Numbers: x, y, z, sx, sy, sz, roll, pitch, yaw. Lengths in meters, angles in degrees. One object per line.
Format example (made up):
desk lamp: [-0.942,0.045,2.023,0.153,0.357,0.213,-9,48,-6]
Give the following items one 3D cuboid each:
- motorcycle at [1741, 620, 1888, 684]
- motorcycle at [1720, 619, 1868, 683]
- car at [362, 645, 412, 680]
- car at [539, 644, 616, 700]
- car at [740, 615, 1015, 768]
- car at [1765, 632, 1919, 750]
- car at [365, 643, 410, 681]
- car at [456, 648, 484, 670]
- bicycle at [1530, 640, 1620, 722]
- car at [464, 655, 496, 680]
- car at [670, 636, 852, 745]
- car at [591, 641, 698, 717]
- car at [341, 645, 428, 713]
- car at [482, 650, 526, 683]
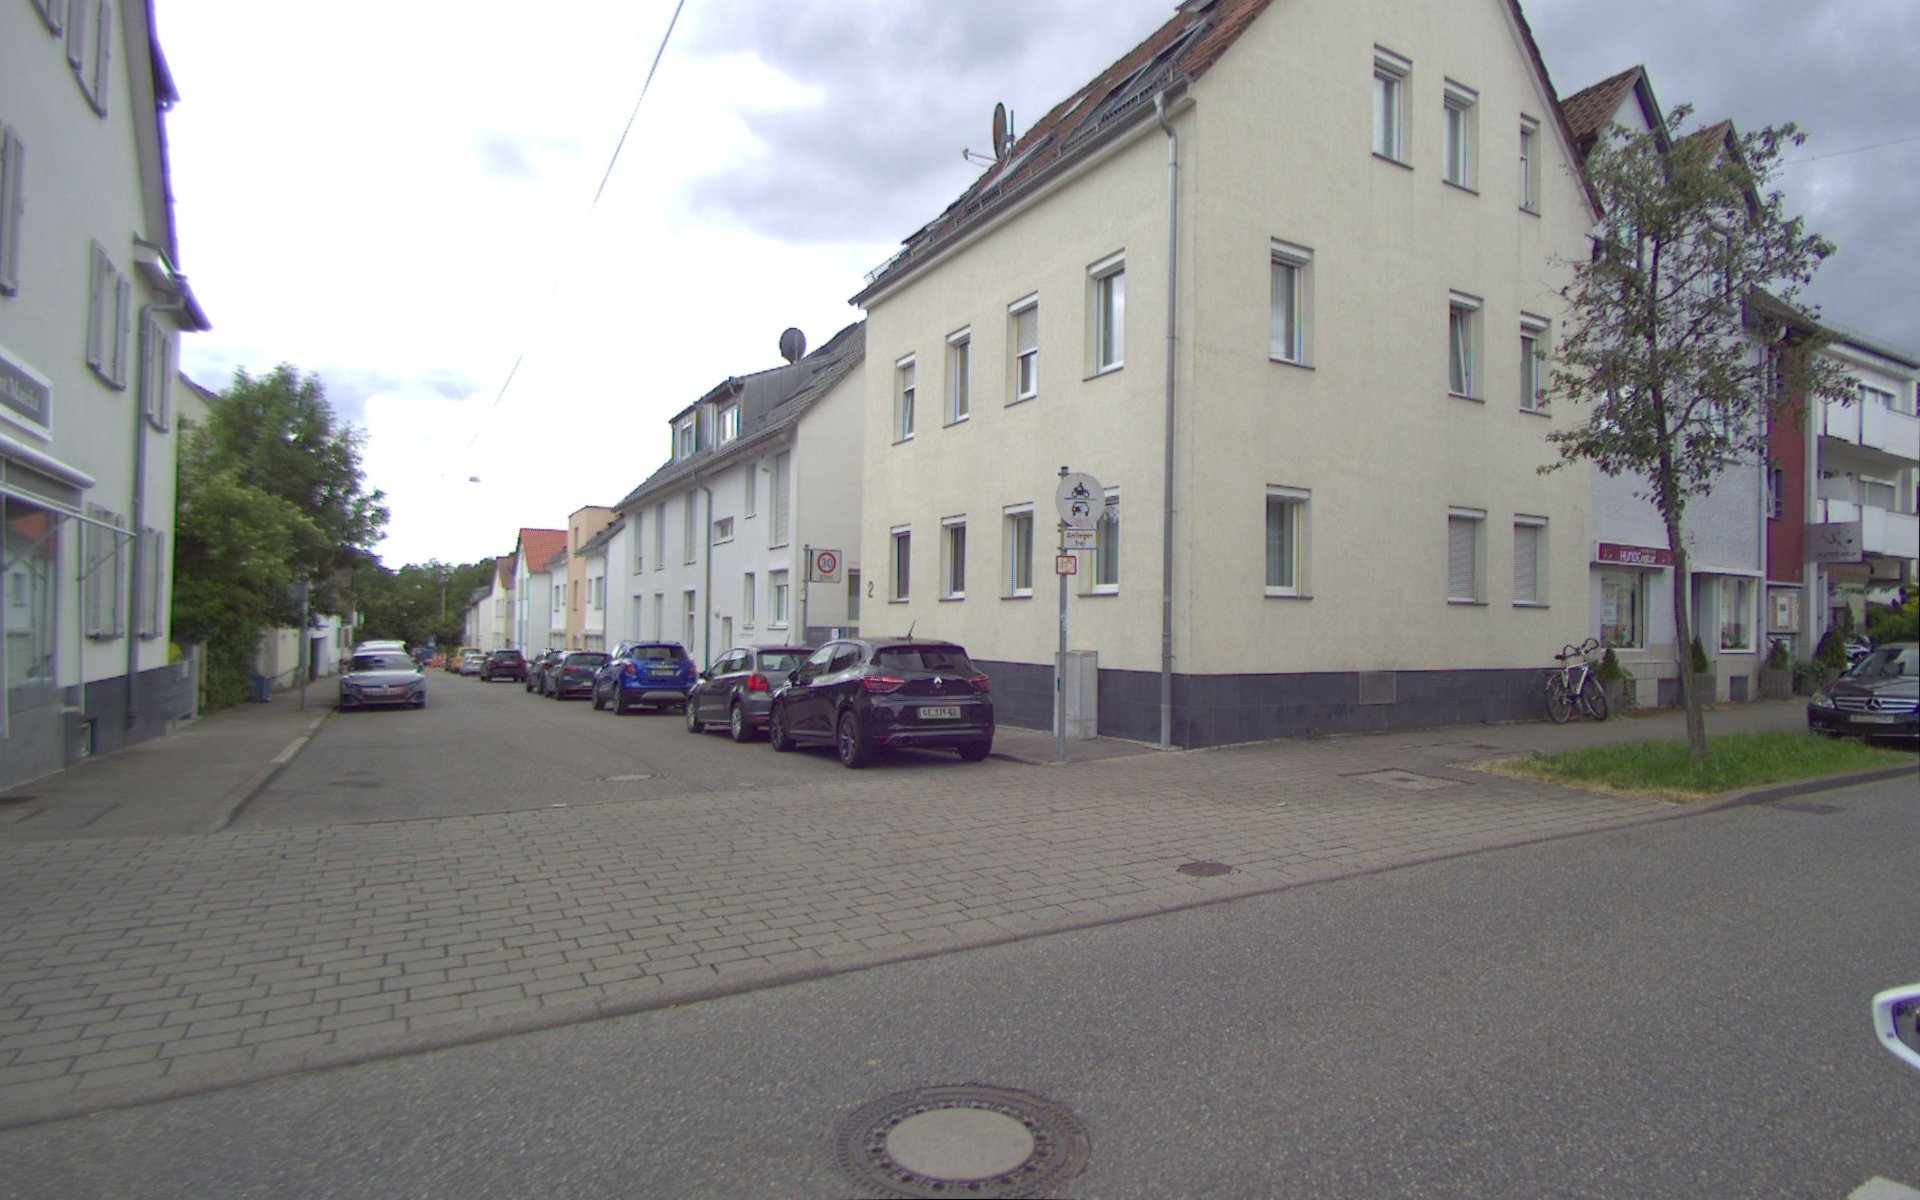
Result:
motorcycle: [21.063,1.245,24.834,0.694,1.428,2.685,1,0,-39]
motorcycle: [20.302,1.205,24.520,0.694,1.428,2.685,1,0,-39]
car: [-24.669,2.696,43.301,1.789,1.435,3.686,1,-4,-30]
car: [-11.630,2.163,30.405,1.650,1.597,3.686,1,-4,-30]
car: [-1.186,1.123,12.347,1.716,1.554,3.967,1,-6,-32]
car: [13.748,1.233,14.399,4.462,1.486,1.940,1,-4,-30]
car: [-27.470,2.964,48.215,1.789,1.744,3.686,1,-4,-30]
car: [-36.754,4.470,75.344,1.650,1.597,3.686,1,-4,-30]
bicycle: [9.407,1.211,15.347,1.649,1.169,0.511,1,0,-33]
car: [-31.417,4.427,65.679,1.650,1.597,3.686,1,-4,-30]
car: [-3.282,1.403,16.038,1.652,1.505,3.682,1,-4,-32]
car: [-7.368,1.792,23.283,1.650,1.597,3.686,1,-4,-30]
car: [-14.616,1.980,25.570,1.789,1.597,3.686,1,-4,-30]
car: [-23.048,3.343,50.715,1.698,1.597,3.686,1,-4,-30]
